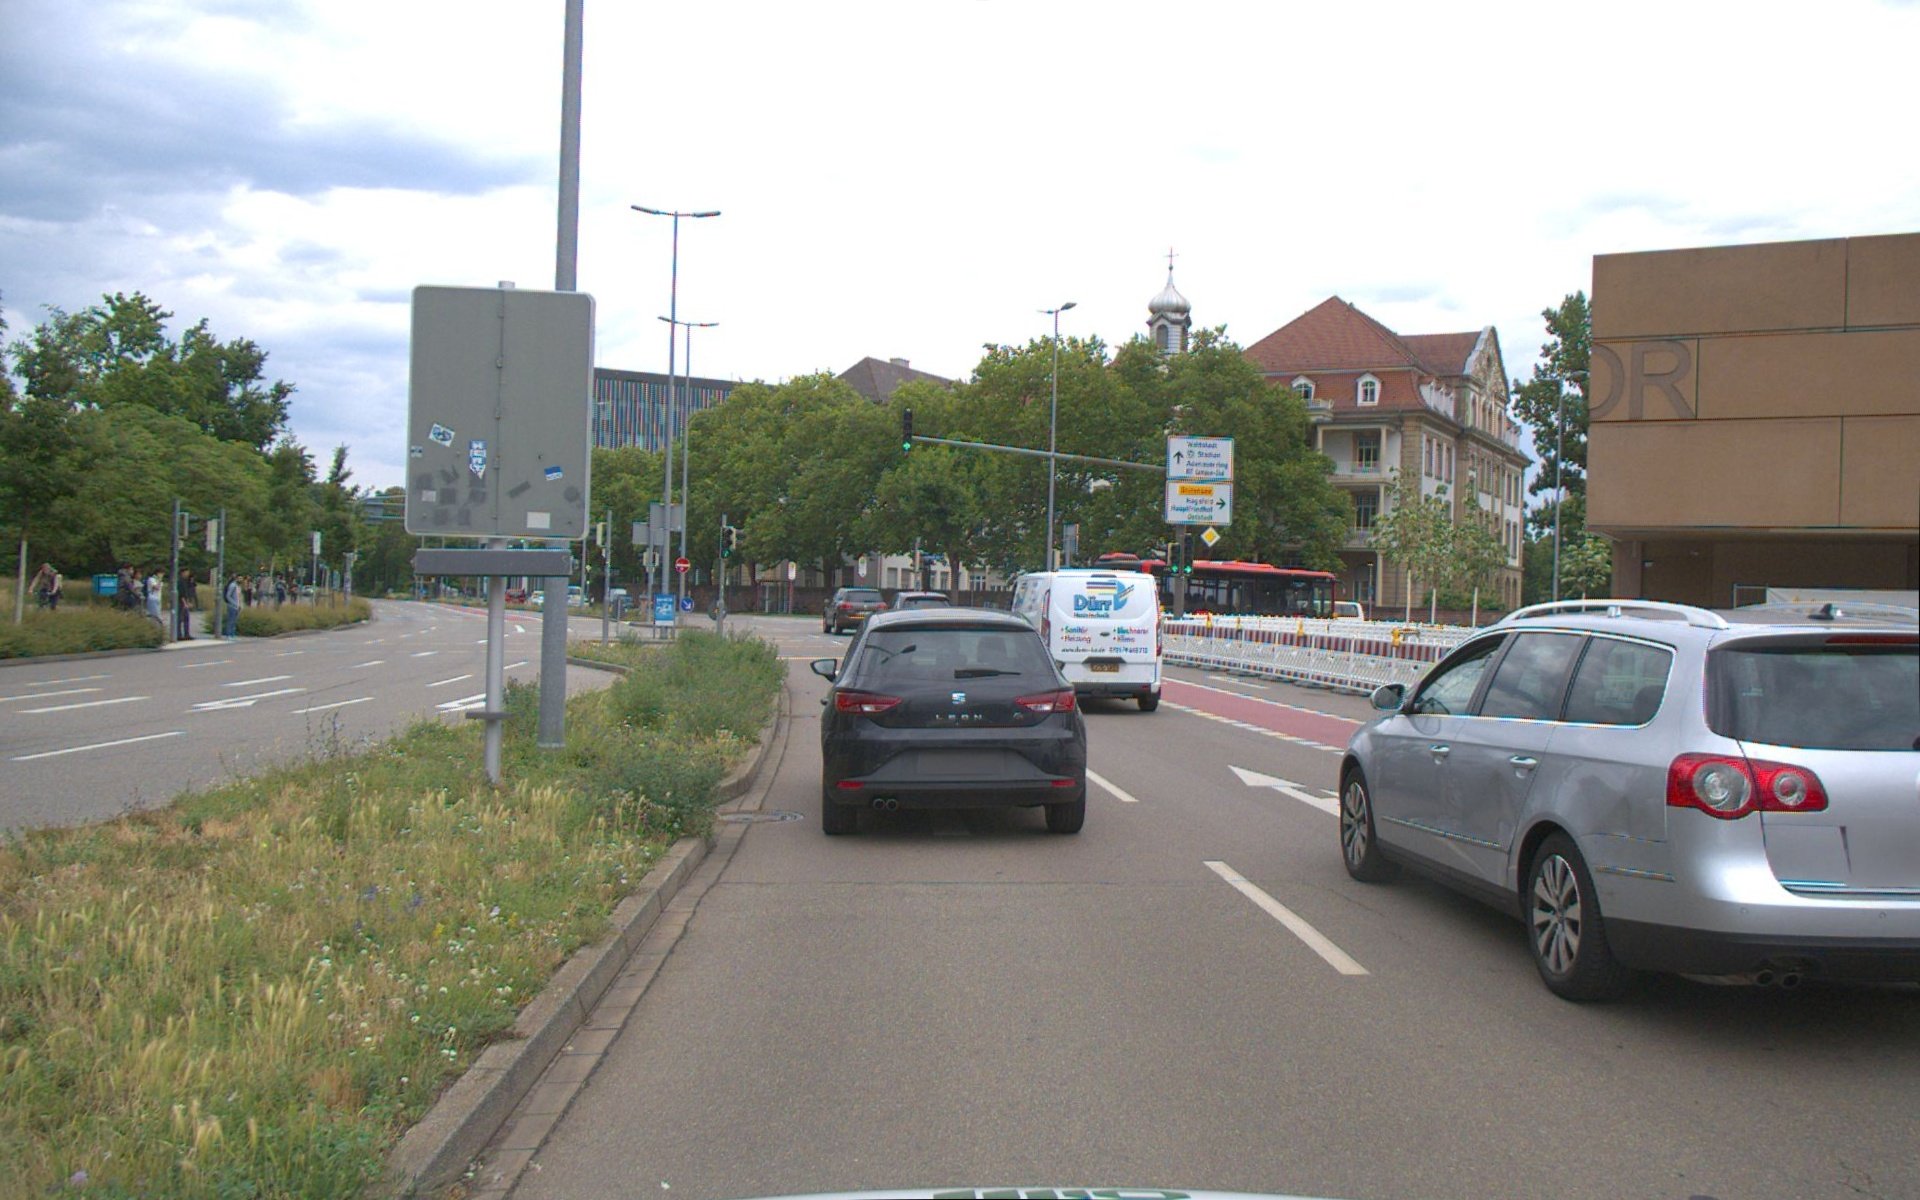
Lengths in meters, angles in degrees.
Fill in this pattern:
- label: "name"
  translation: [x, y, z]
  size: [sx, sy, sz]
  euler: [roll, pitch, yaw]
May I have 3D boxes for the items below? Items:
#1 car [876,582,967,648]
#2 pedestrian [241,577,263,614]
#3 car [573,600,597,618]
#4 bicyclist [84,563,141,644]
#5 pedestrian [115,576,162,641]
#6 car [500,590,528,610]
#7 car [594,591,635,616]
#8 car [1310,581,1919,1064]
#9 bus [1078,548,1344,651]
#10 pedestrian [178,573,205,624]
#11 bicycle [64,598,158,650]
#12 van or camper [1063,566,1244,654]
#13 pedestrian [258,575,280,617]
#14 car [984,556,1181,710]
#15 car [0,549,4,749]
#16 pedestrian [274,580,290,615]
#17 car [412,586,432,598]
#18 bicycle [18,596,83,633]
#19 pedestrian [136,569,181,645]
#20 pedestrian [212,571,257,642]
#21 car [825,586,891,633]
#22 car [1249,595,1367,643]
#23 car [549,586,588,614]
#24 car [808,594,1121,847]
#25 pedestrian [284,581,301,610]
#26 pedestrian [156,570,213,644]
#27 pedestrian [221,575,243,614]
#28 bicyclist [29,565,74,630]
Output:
- label: "car"
  translation: [-1.087, 0.392, 44.666]
  size: [1.824, 1.628, 4.195]
  euler: [2, -1, -10]
- label: "pedestrian"
  translation: [-33.511, -0.210, 78.322]
  size: [0.742, 1.742, 1.043]
  euler: [2, -1, -13]
- label: "car"
  translation: [-30.671, 0.732, 135.173]
  size: [1.503, 1.389, 2.952]
  euler: [3, -1, -20]
- label: "bicyclist"
  translation: [-20.012, 0.087, 39.065]
  size: [0.774, 1.876, 0.833]
  euler: [1, -1, 22]
- label: "pedestrian"
  translation: [-21.775, 0.216, 43.856]
  size: [0.825, 1.678, 0.805]
  euler: [2, -1, -4]
- label: "car"
  translation: [-40.051, -0.019, 148.462]
  size: [1.967, 1.711, 3.983]
  euler: [2, 0, -22]
- label: "car"
  translation: [-24.847, 0.250, 118.897]
  size: [1.895, 1.713, 3.965]
  euler: [2, 0, -27]
- label: "car"
  translation: [3.049, 0.721, 7.538]
  size: [1.686, 1.508, 4.625]
  euler: [1, 0, -3]
- label: "bus"
  translation: [9.730, 0.087, 62.364]
  size: [12.280, 3.355, 3.020]
  euler: [3, -1, -44]
- label: "pedestrian"
  translation: [-31.792, -0.057, 68.472]
  size: [0.742, 2.049, 1.043]
  euler: [2, -1, -13]
- label: "bicycle"
  translation: [-20.026, 0.575, 39.047]
  size: [0.773, 1.179, 1.906]
  euler: [1, -1, 22]
- label: "van or camper"
  translation: [8.049, 0.464, 68.715]
  size: [7.041, 3.391, 2.852]
  euler: [2, -2, -26]
- label: "pedestrian"
  translation: [-34.135, -0.187, 81.723]
  size: [0.742, 2.049, 1.043]
  euler: [2, -1, -13]
- label: "car"
  translation: [1.727, 0.467, 25.226]
  size: [1.956, 2.054, 5.023]
  euler: [2, -1, -8]
- label: "car"
  translation: [-9.230, 0.399, 12.111]
  size: [1.833, 1.755, 4.710]
  euler: [1, -1, -2]
- label: "pedestrian"
  translation: [-37.297, -0.149, 90.959]
  size: [0.702, 1.903, 0.754]
  euler: [2, -1, -17]
- label: "car"
  translation: [-58.733, -0.862, 180.460]
  size: [1.690, 1.287, 3.314]
  euler: [3, -1, -25]
- label: "bicycle"
  translation: [-22.895, 0.365, 41.666]
  size: [0.701, 0.898, 1.881]
  euler: [2, -1, -5]
- label: "pedestrian"
  translation: [-20.124, 0.182, 41.532]
  size: [0.742, 1.875, 0.766]
  euler: [1, -1, -4]
- label: "pedestrian"
  translation: [-19.561, 0.186, 44.606]
  size: [0.875, 1.874, 0.667]
  euler: [2, -1, -4]
- label: "car"
  translation: [-3.728, 0.348, 59.944]
  size: [1.957, 1.593, 4.195]
  euler: [2, -1, -9]
- label: "car"
  translation: [15.212, 0.849, 72.240]
  size: [4.926, 1.897, 1.983]
  euler: [2, -4, -26]
- label: "car"
  translation: [-29.249, -0.013, 123.504]
  size: [1.969, 2.049, 3.968]
  euler: [2, 0, -25]
- label: "car"
  translation: [-0.140, 0.739, 11.864]
  size: [1.713, 1.490, 3.993]
  euler: [0, -1, -8]
- label: "pedestrian"
  translation: [-42.309, -0.267, 104.838]
  size: [0.905, 1.810, 1.057]
  euler: [2, -1, -21]
- label: "pedestrian"
  translation: [-20.015, 0.180, 42.724]
  size: [1.028, 1.874, 0.865]
  euler: [2, -1, -4]
- label: "pedestrian"
  translation: [-34.300, -0.274, 77.916]
  size: [0.742, 1.796, 0.903]
  euler: [2, -1, -13]
- label: "bicyclist"
  translation: [-22.881, -0.050, 41.663]
  size: [0.701, 1.598, 0.711]
  euler: [2, -1, -7]
